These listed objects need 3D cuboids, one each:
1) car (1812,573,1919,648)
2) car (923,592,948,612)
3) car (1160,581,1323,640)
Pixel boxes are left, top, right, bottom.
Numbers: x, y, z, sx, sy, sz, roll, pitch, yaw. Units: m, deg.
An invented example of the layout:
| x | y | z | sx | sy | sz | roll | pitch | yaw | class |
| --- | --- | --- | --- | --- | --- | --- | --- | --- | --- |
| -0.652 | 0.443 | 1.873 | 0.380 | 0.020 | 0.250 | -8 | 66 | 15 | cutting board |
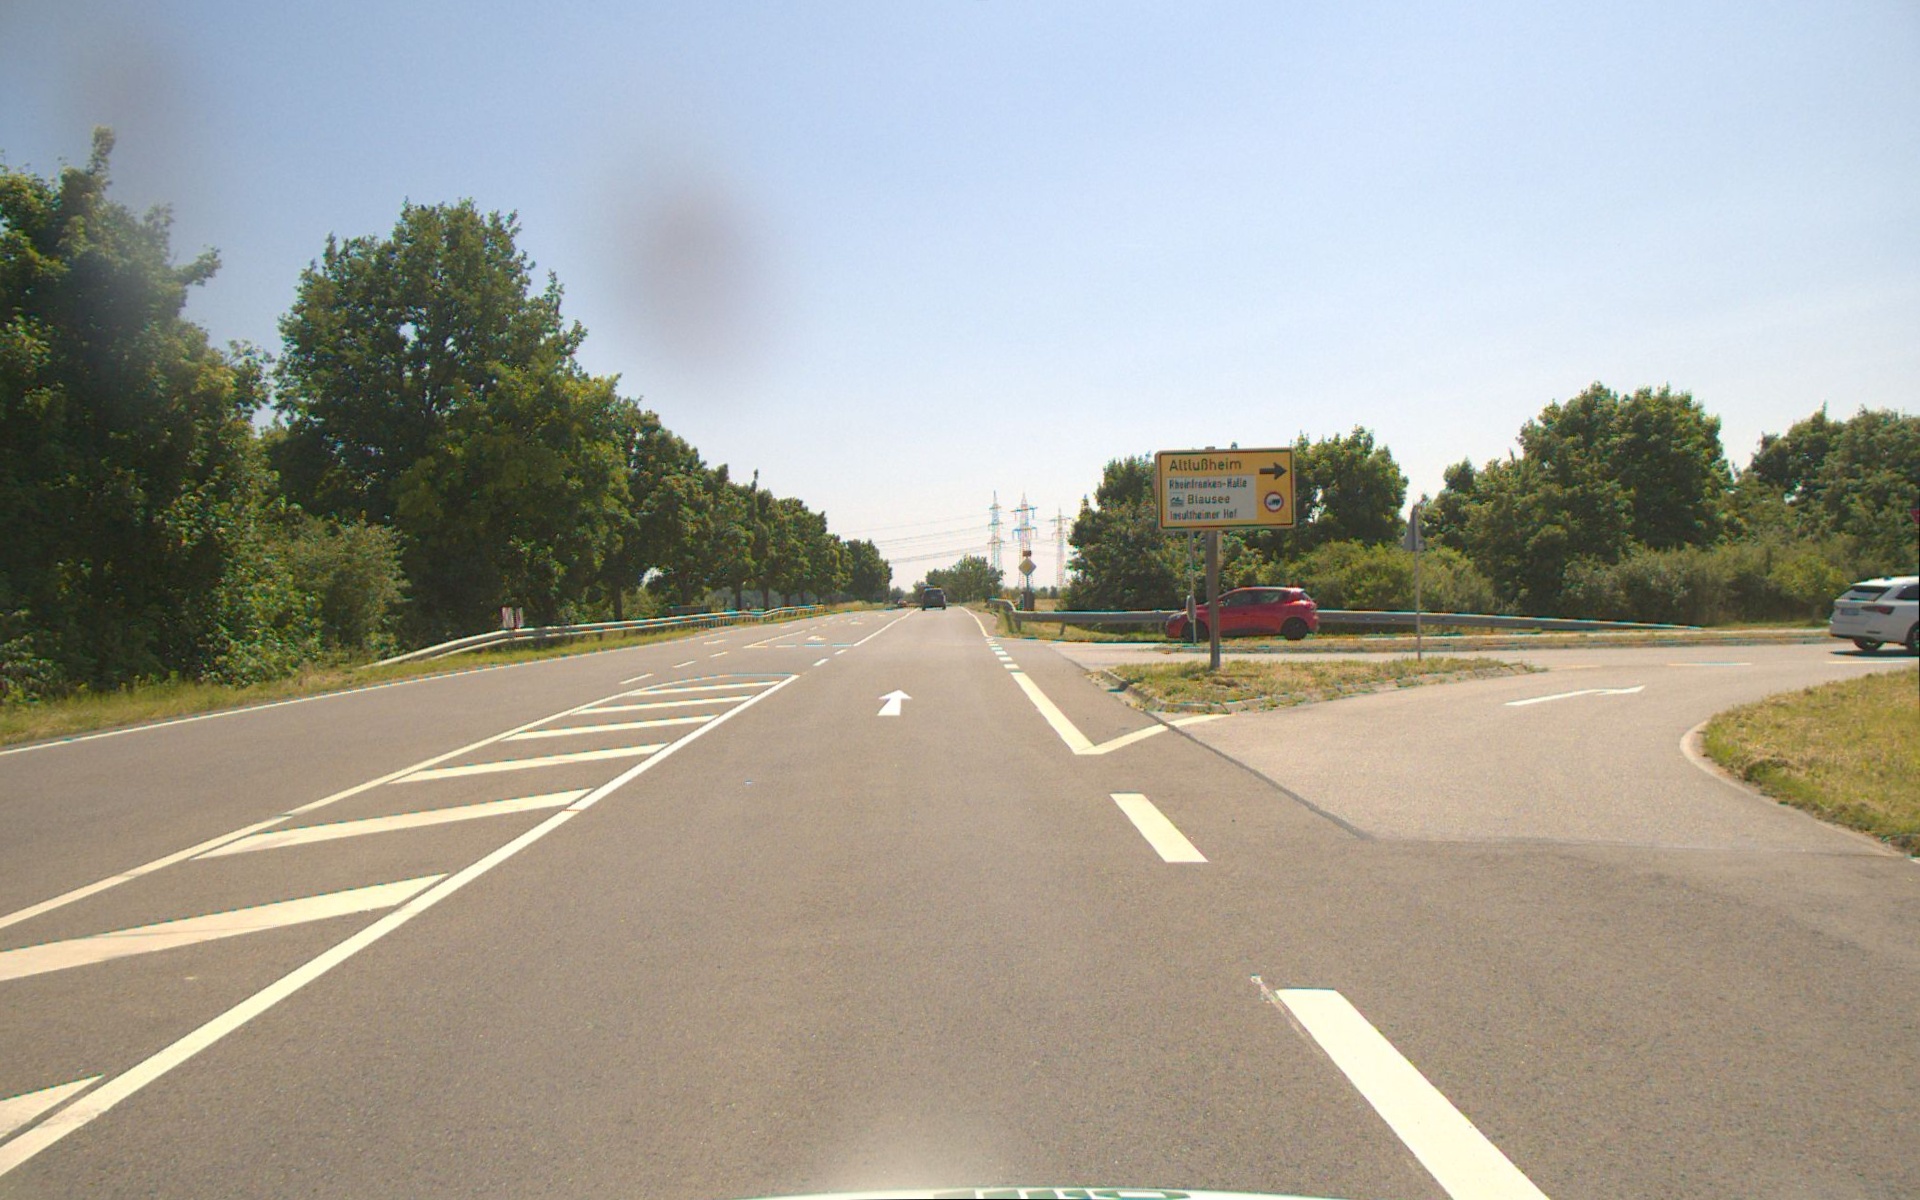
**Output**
| x | y | z | sx | sy | sz | roll | pitch | yaw | class |
| --- | --- | --- | --- | --- | --- | --- | --- | --- | --- |
| 19.742 | 0.212 | 33.022 | 4.608 | 1.443 | 1.839 | 0 | 0 | -5 | car |
| -1.956 | 0.129 | 129.456 | 1.847 | 1.544 | 4.037 | 0 | 0 | -3 | car |
| 7.363 | 0.283 | 43.135 | 4.064 | 1.443 | 1.781 | -1 | 0 | 13 | car |
